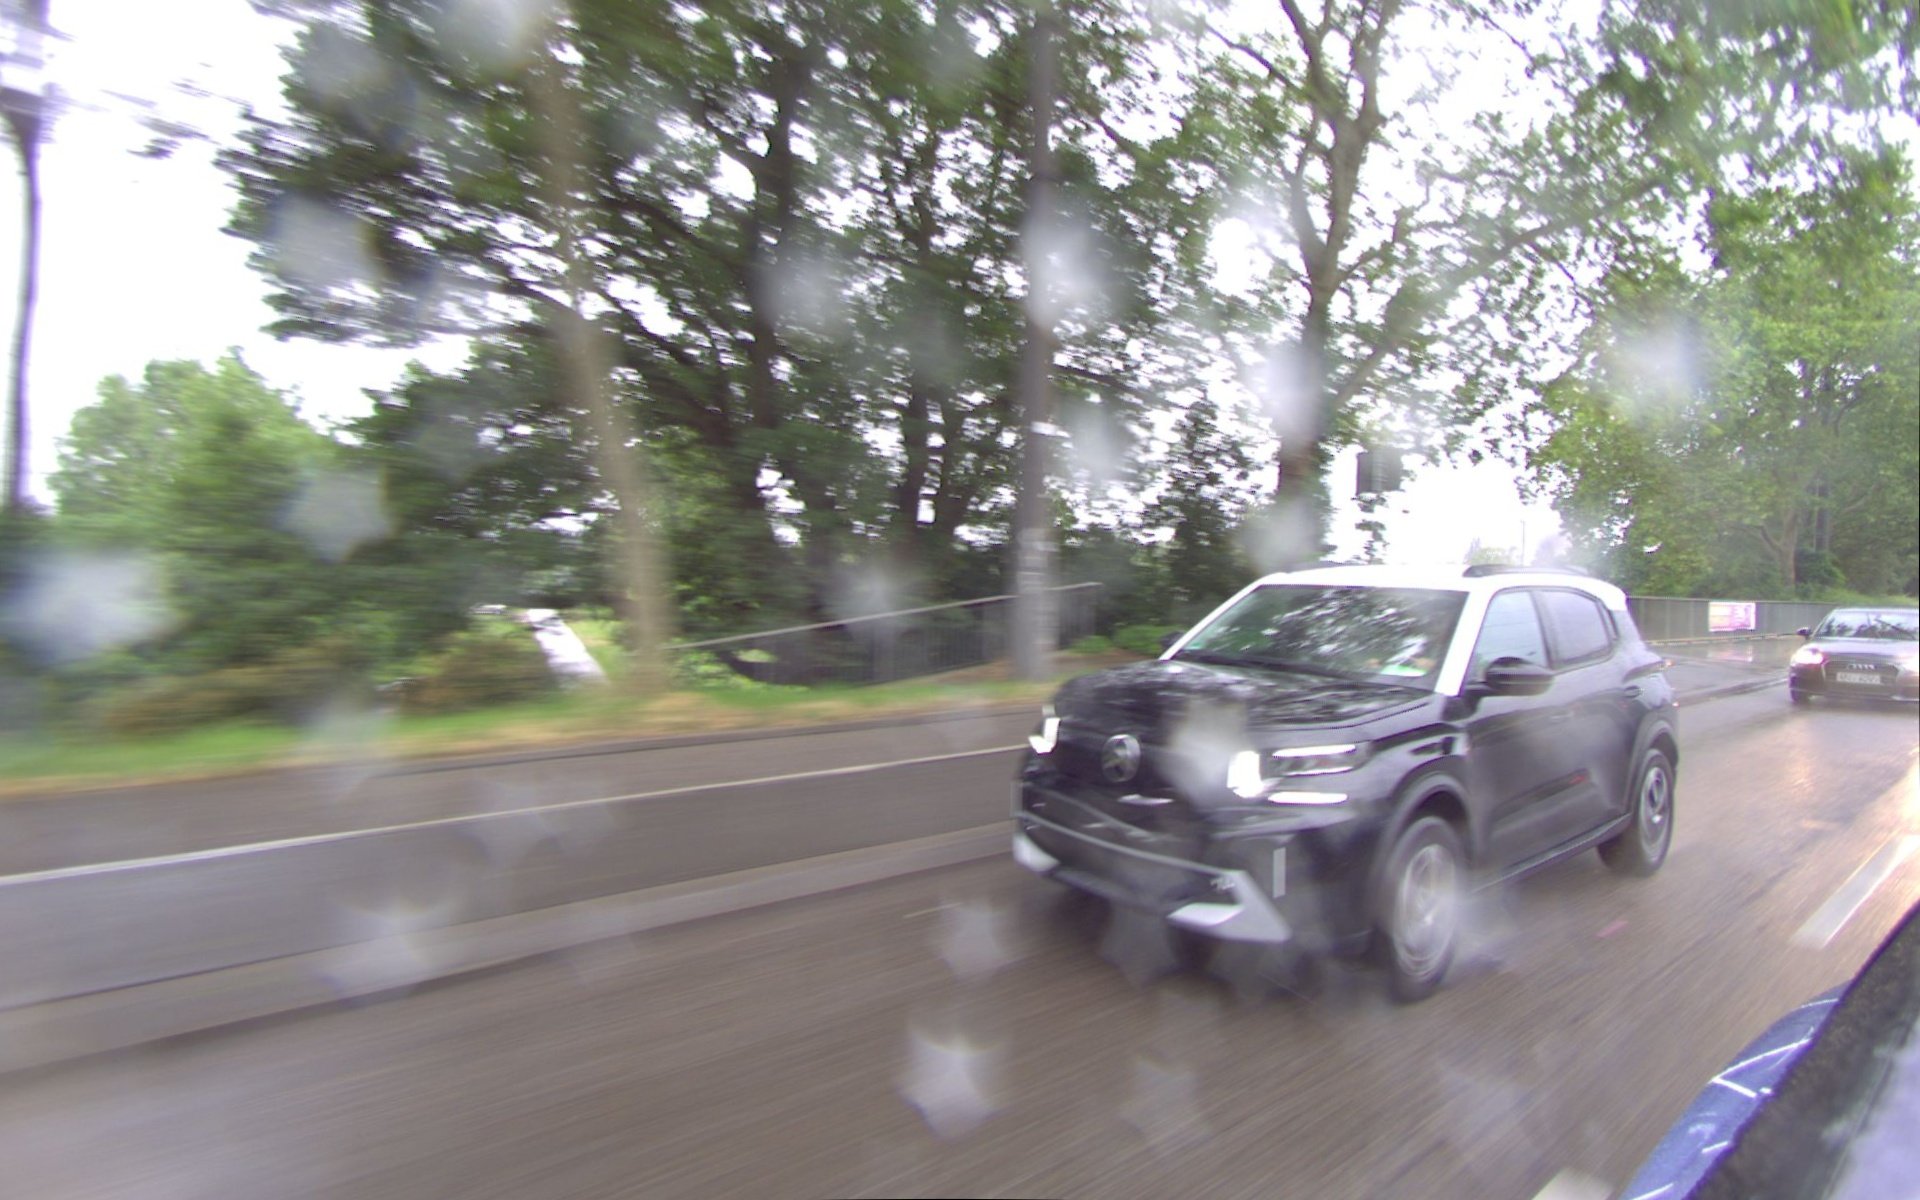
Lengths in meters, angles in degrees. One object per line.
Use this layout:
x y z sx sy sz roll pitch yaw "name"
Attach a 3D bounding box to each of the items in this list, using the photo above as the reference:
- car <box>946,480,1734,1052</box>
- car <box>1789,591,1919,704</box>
2.302 0.513 5.264 4.678 1.724 1.796 1 0 -40 "car"
13.695 0.638 14.779 3.929 1.445 1.783 1 1 -40 "car"
